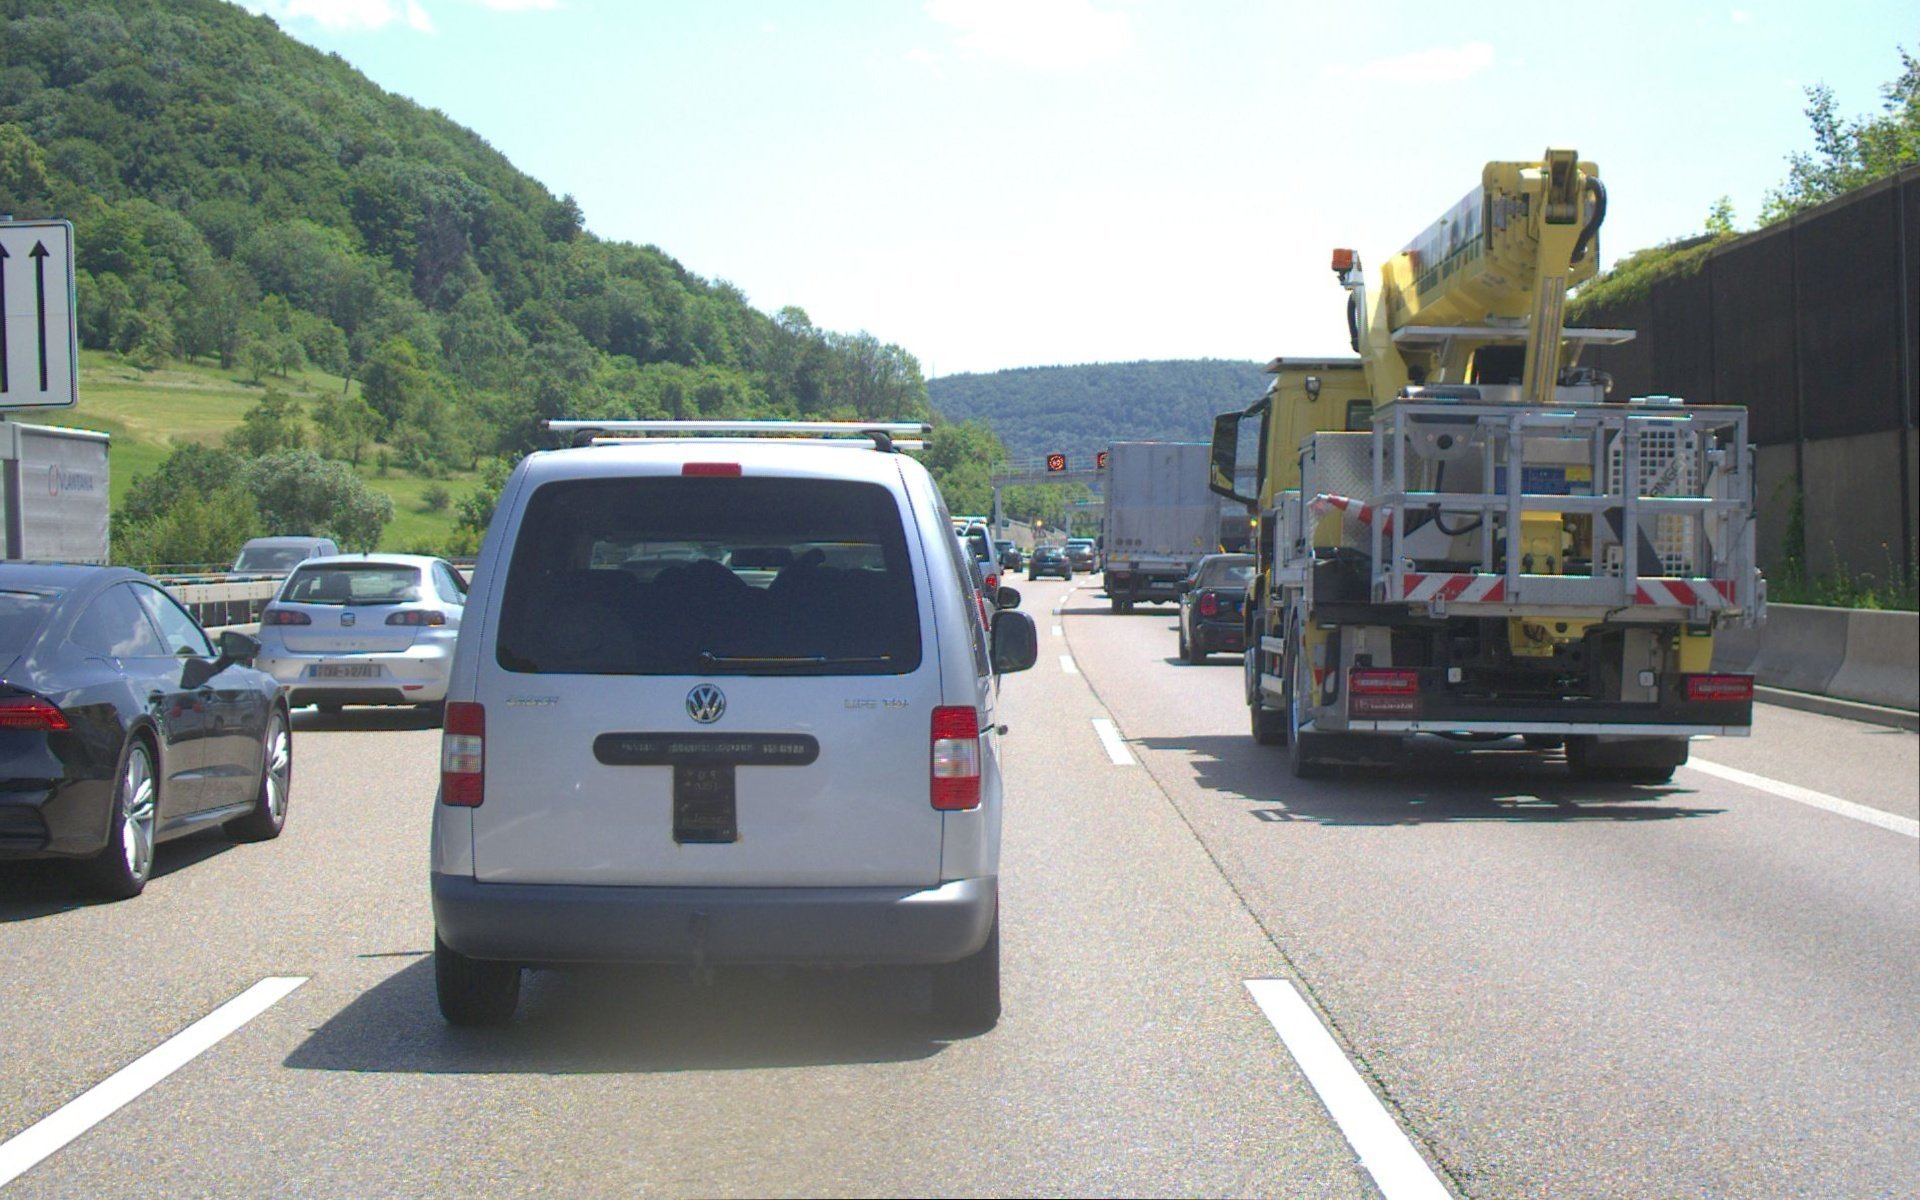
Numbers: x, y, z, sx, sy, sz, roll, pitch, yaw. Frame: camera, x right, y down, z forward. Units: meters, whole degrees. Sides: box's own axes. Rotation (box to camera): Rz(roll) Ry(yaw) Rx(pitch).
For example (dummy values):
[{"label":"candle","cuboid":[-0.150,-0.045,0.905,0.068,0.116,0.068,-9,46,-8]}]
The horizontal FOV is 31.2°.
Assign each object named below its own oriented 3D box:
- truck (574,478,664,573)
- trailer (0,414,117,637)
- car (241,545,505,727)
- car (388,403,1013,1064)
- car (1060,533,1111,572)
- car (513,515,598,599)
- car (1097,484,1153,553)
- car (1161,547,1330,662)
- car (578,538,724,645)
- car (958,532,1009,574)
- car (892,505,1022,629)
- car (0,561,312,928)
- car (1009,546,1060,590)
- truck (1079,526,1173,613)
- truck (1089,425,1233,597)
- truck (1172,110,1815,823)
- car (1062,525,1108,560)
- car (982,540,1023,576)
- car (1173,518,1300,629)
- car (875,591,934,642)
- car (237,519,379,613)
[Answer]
[{"label":"truck","cuboid":[-15.259,-3.307,154.119,3.278,4.134,6.955,0,0,0]},{"label":"trailer","cuboid":[-19.373,-1.422,65.937,2.854,4.177,13.615,1,0,1]},{"label":"car","cuboid":[-4.931,0.258,29.305,1.695,1.440,3.862,0,1,-2]},{"label":"car","cuboid":[-0.802,0.343,11.703,1.756,1.861,4.000,0,1,-2]},{"label":"car","cuboid":[5.991,-2.264,164.210,2.114,1.821,4.000,1,0,-2]},{"label":"car","cuboid":[-14.207,-1.509,121.101,2.155,2.852,6.399,1,0,0]},{"label":"car","cuboid":[5.608,-2.757,117.221,1.673,2.287,4.000,1,0,-1]},{"label":"car","cuboid":[3.724,0.028,45.384,1.786,1.453,3.771,0,1,-2]},{"label":"car","cuboid":[-4.524,-0.148,50.770,1.924,1.494,4.000,1,1,-2]},{"label":"car","cuboid":[1.044,-2.129,156.681,2.114,1.821,4.000,1,0,-2]},{"label":"car","cuboid":[-0.086,-0.553,56.449,1.993,1.969,4.000,0,1,-2]},{"label":"car","cuboid":[-4.324,0.528,15.690,1.800,1.385,4.969,0,1,0]},{"label":"car","cuboid":[3.006,-1.285,139.186,1.993,1.743,4.000,1,0,1]},{"label":"truck","cuboid":[4.928,-0.948,102.796,2.390,2.532,5.940,0,1,-1]},{"label":"truck","cuboid":[4.660,-2.027,81.127,2.940,3.810,8.237,1,0,0]},{"label":"truck","cuboid":[3.219,-0.809,23.347,2.703,3.929,8.723,0,1,-2]},{"label":"car","cuboid":[6.596,-3.029,181.734,2.114,1.821,4.000,1,0,-2]},{"label":"car","cuboid":[2.184,-2.185,178.520,1.993,1.799,4.000,1,0,-1]},{"label":"car","cuboid":[5.123,-0.519,64.094,1.993,2.007,4.000,0,1,-1]},{"label":"car","cuboid":[-2.074,0.615,130.077,2.114,1.821,4.000,1,0,1]},{"label":"car","cuboid":[-13.312,-0.706,70.429,1.993,1.847,4.407,1,1,1]}]
